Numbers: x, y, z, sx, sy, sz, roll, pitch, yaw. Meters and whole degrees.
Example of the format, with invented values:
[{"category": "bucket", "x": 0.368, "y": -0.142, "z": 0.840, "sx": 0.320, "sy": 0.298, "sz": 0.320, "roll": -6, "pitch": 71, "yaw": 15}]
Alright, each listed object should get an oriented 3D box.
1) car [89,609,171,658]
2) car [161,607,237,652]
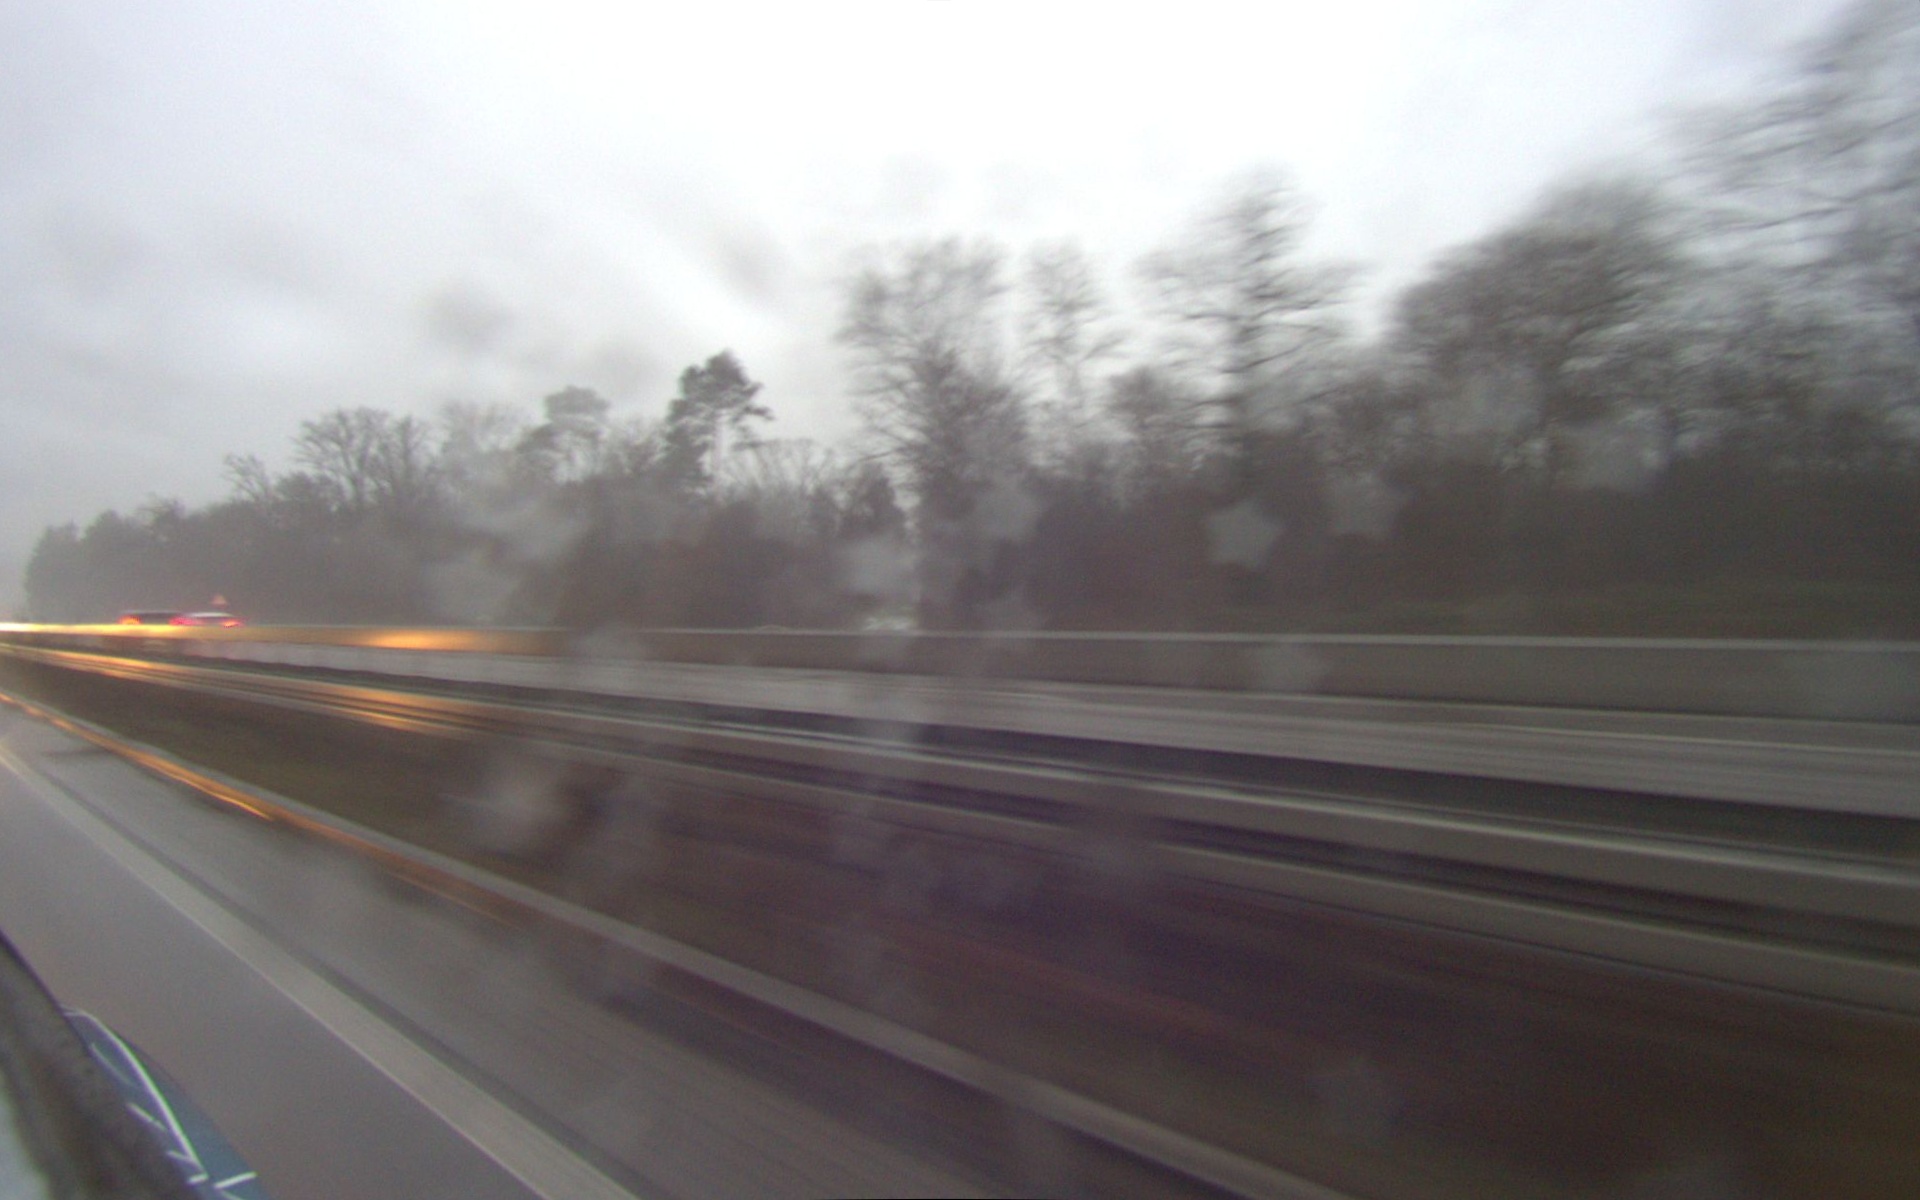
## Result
[{"category": "car", "x": -26.096, "y": 1.003, "z": 31.770, "sx": 4.124, "sy": 1.406, "sz": 1.526, "roll": -1, "pitch": 0, "yaw": 44}, {"category": "car", "x": -32.018, "y": 1.206, "z": 42.527, "sx": 4.424, "sy": 1.760, "sz": 1.702, "roll": -1, "pitch": 0, "yaw": 41}]
